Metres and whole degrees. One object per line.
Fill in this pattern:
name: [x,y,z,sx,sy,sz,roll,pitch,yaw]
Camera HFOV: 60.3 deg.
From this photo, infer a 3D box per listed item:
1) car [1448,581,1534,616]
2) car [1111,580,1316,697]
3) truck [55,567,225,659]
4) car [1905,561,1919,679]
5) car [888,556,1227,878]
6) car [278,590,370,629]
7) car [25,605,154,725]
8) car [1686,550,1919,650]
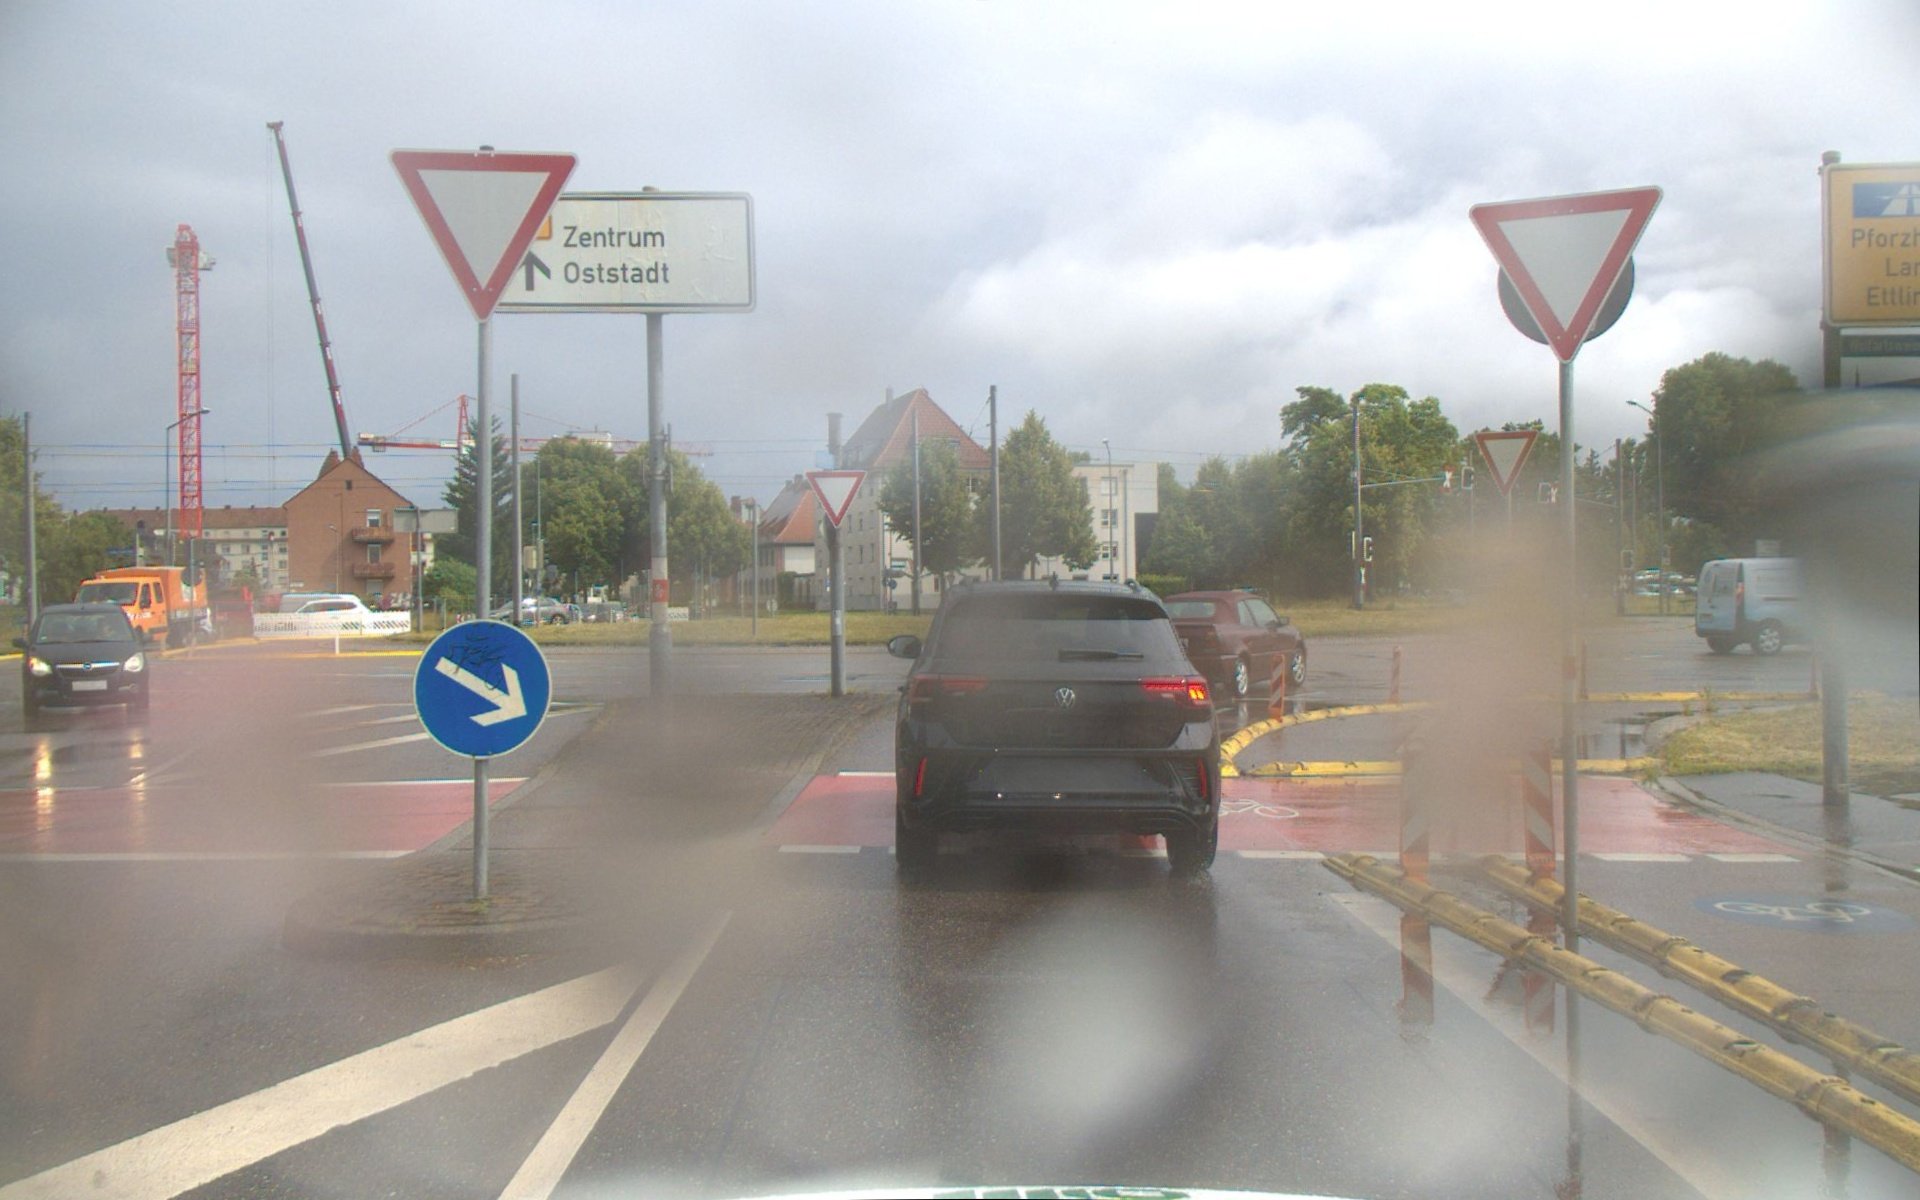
car: [24.411,-0.076,76.105,1.711,1.575,3.552,-1,0,-31]
car: [3.723,0.493,23.848,1.703,1.540,3.596,0,0,31]
truck: [-25.881,0.358,52.582,2.276,2.696,7.084,-1,0,-4]
car: [16.218,0.265,23.687,4.249,1.755,2.002,-1,0,14]
car: [0.416,0.586,10.120,1.674,1.601,3.680,0,0,-3]
car: [-27.579,0.392,71.729,3.465,1.612,1.548,-1,0,-35]
car: [-13.389,0.923,25.358,1.549,1.677,3.615,-1,0,-31]
car: [16.649,-0.014,32.152,4.304,1.841,1.868,-1,0,-5]
